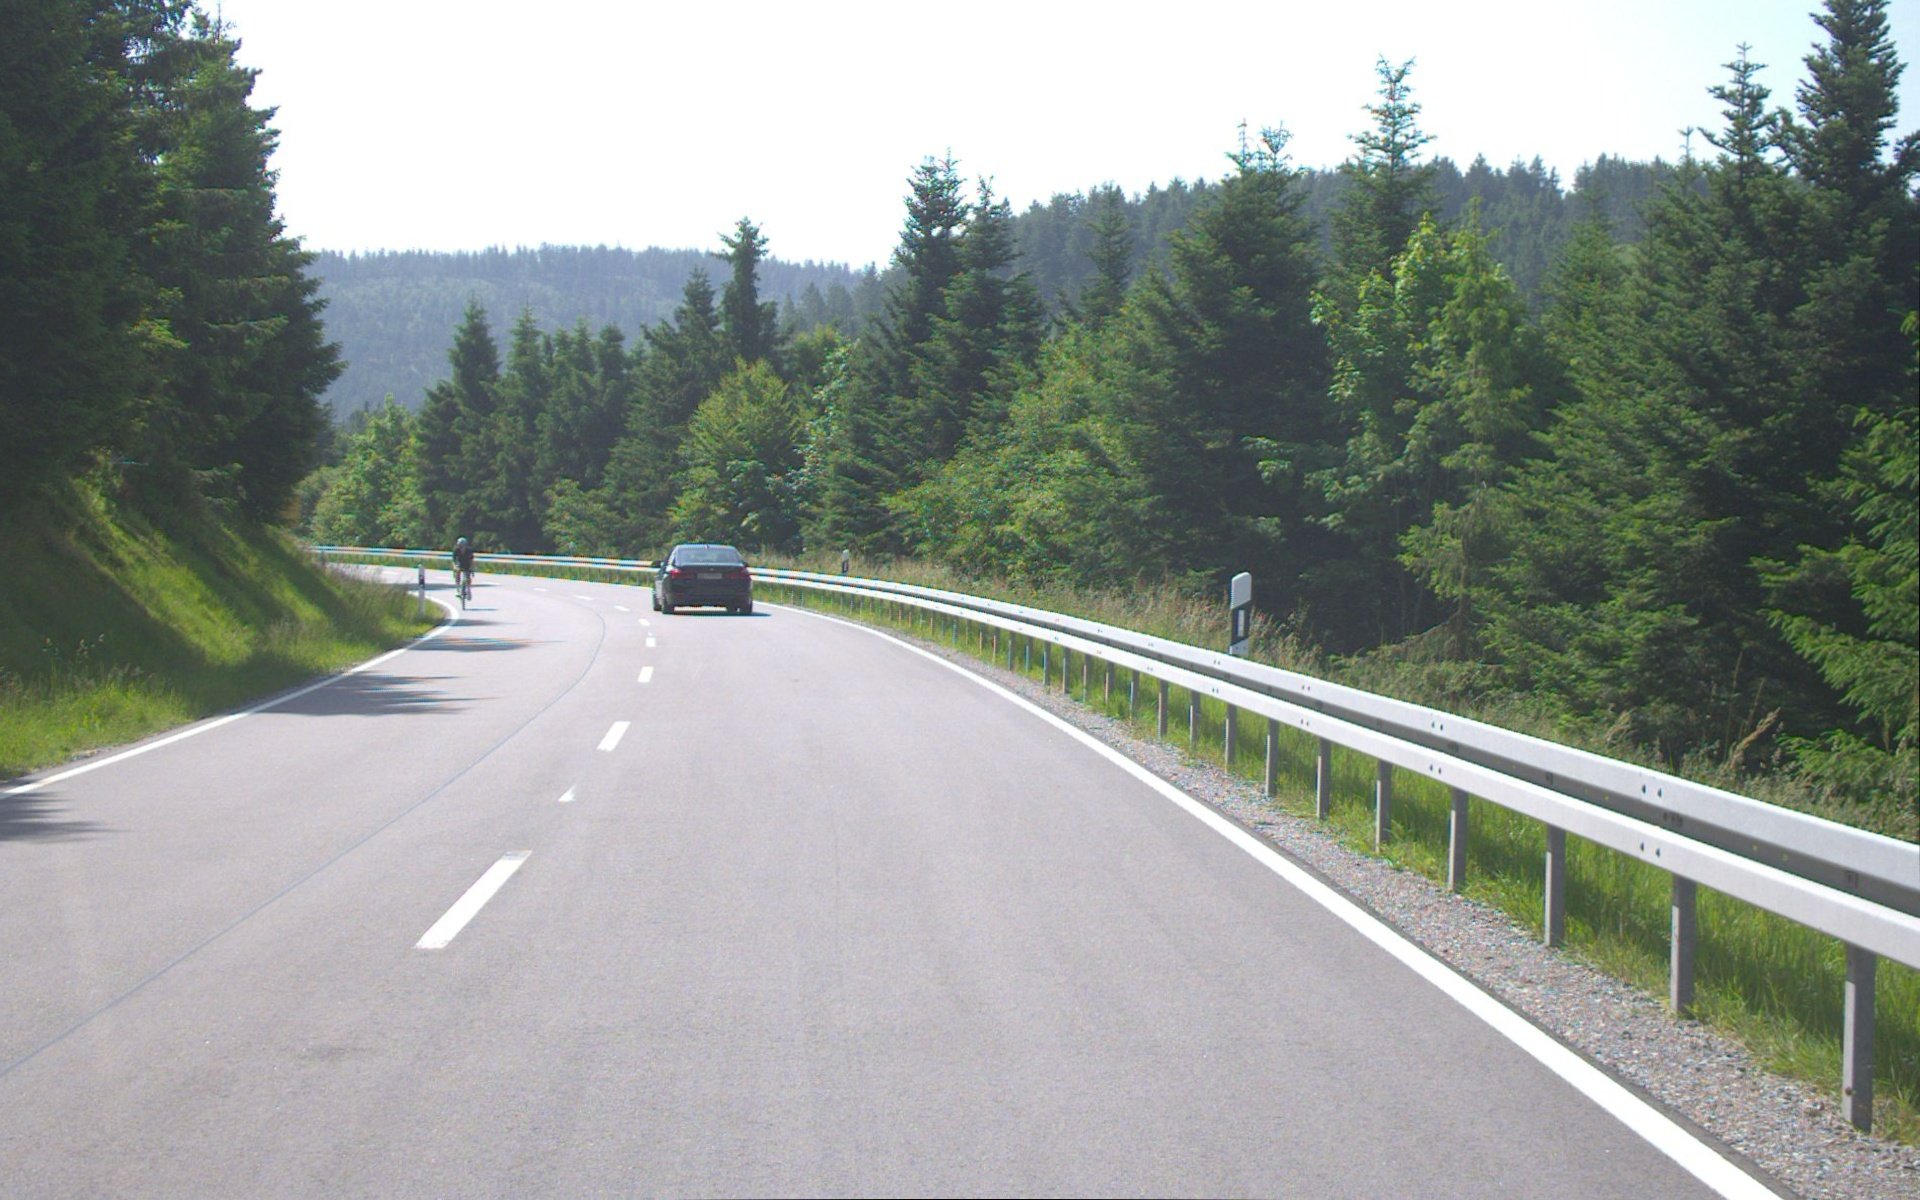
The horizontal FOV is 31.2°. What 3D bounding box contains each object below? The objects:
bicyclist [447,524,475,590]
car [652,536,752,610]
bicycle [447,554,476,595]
[{"bbox_3d":[-11.046,-0.958,76.074,0.541,1.446,0.984,-1,1,-11],"label":"bicyclist"},{"bbox_3d":[-5.269,-0.565,69.840,1.775,1.437,3.710,-1,1,-8],"label":"car"},{"bbox_3d":[-11.045,-0.574,76.169,0.553,0.883,2.063,-1,1,-10],"label":"bicycle"}]
